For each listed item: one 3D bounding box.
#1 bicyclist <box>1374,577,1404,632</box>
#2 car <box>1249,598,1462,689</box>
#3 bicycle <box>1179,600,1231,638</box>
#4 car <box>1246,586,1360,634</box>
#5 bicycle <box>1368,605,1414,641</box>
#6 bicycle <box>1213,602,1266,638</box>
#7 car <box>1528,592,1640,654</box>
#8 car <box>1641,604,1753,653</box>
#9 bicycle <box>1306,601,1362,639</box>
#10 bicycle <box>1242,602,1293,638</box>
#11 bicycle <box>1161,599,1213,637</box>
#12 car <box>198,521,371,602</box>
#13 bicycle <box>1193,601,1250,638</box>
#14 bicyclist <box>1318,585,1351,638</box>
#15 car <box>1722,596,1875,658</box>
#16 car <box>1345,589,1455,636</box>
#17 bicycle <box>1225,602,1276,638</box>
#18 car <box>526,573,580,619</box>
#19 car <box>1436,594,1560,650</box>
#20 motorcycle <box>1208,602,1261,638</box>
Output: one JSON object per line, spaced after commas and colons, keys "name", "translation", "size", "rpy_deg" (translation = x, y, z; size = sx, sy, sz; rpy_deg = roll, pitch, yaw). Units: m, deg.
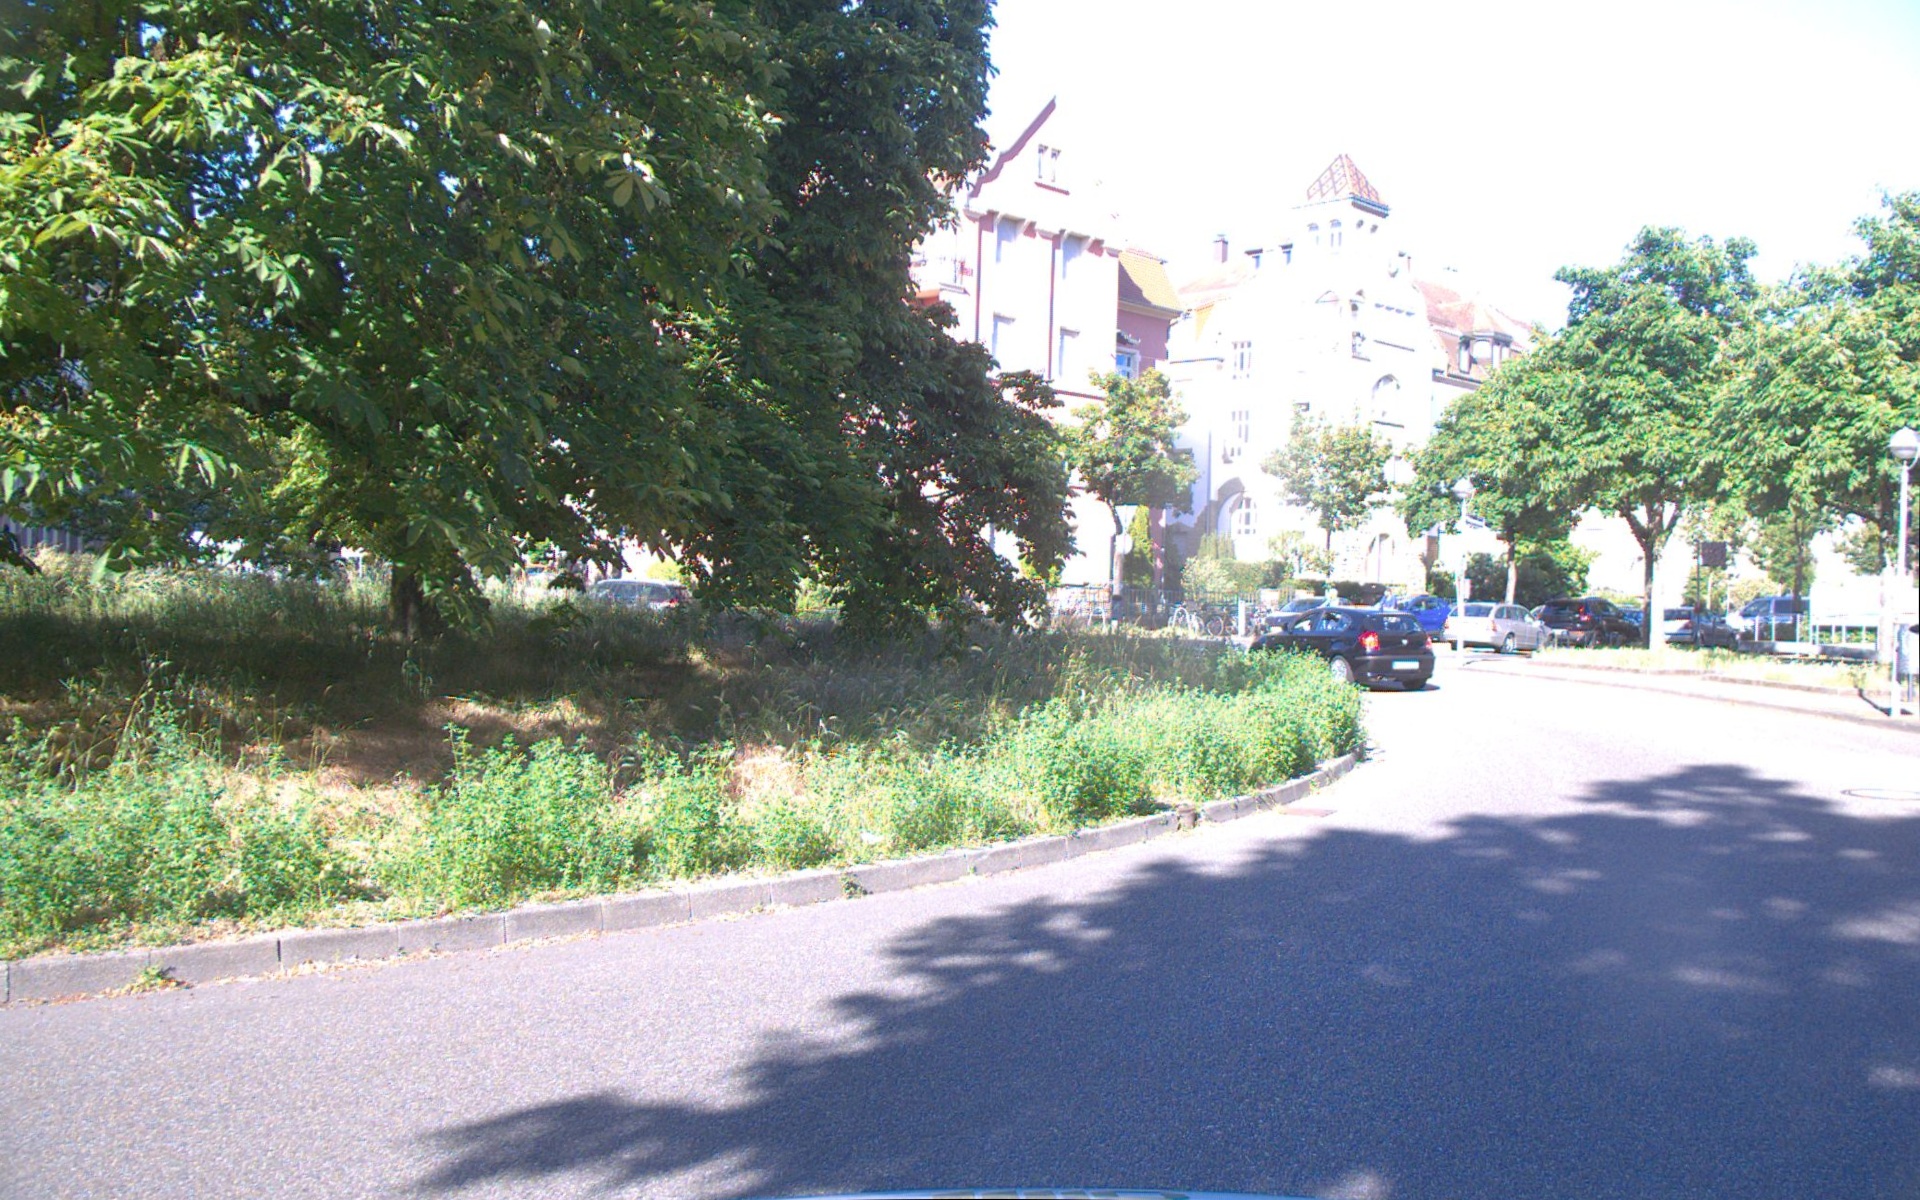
{"name": "bicyclist", "translation": [13.814, 0.139, 53.214], "size": [0.717, 1.744, 0.635], "rpy_deg": [2, -1, -44]}
{"name": "car", "translation": [6.925, 0.724, 29.375], "size": [1.837, 1.444, 3.977], "rpy_deg": [1, 0, -19]}
{"name": "bicycle", "translation": [8.118, 0.623, 54.924], "size": [0.542, 1.134, 1.700], "rpy_deg": [1, 2, -43]}
{"name": "car", "translation": [11.192, 0.345, 53.789], "size": [1.776, 1.509, 4.314], "rpy_deg": [-1, -2, 40]}
{"name": "bicycle", "translation": [13.893, 0.753, 53.318], "size": [1.704, 1.127, 0.635], "rpy_deg": [2, -1, -44]}
{"name": "bicycle", "translation": [9.529, 0.671, 56.418], "size": [1.695, 1.126, 0.498], "rpy_deg": [4, 2, 40]}
{"name": "car", "translation": [19.019, 0.699, 50.294], "size": [1.777, 1.758, 4.313], "rpy_deg": [3, 1, 41]}
{"name": "car", "translation": [24.831, 0.971, 55.684], "size": [4.300, 1.499, 1.783], "rpy_deg": [2, 1, -41]}
{"name": "bicycle", "translation": [11.590, 0.621, 51.251], "size": [1.840, 1.127, 0.589], "rpy_deg": [1, 0, -34]}
{"name": "bicycle", "translation": [10.705, 0.688, 57.572], "size": [1.697, 1.126, 0.512], "rpy_deg": [4, 2, 43]}
{"name": "bicycle", "translation": [7.434, 0.589, 54.293], "size": [0.542, 1.134, 1.700], "rpy_deg": [1, 2, -43]}
{"name": "car", "translation": [-24.763, -1.425, 60.591], "size": [6.230, 2.645, 2.102], "rpy_deg": [3, 0, 25]}
{"name": "bicycle", "translation": [8.756, 0.640, 55.452], "size": [1.791, 1.126, 0.500], "rpy_deg": [4, 2, 31]}
{"name": "bicyclist", "translation": [11.625, 0.355, 51.301], "size": [0.790, 1.609, 0.592], "rpy_deg": [1, 0, -21]}
{"name": "car", "translation": [30.868, 0.961, 60.954], "size": [4.695, 2.036, 1.799], "rpy_deg": [3, 1, 42]}
{"name": "car", "translation": [15.379, 0.457, 57.694], "size": [4.366, 1.589, 1.780], "rpy_deg": [1, -2, -45]}
{"name": "bicycle", "translation": [9.984, 0.681, 56.905], "size": [1.697, 1.126, 0.497], "rpy_deg": [4, 2, 43]}
{"name": "car", "translation": [-14.184, -0.153, 57.509], "size": [1.655, 1.472, 3.531], "rpy_deg": [3, 0, -16]}
{"name": "car", "translation": [15.270, 0.615, 46.825], "size": [1.777, 1.440, 4.313], "rpy_deg": [3, 1, 41]}
{"name": "motorcycle", "translation": [9.269, 0.672, 55.924], "size": [1.695, 1.126, 0.498], "rpy_deg": [4, 2, 40]}
